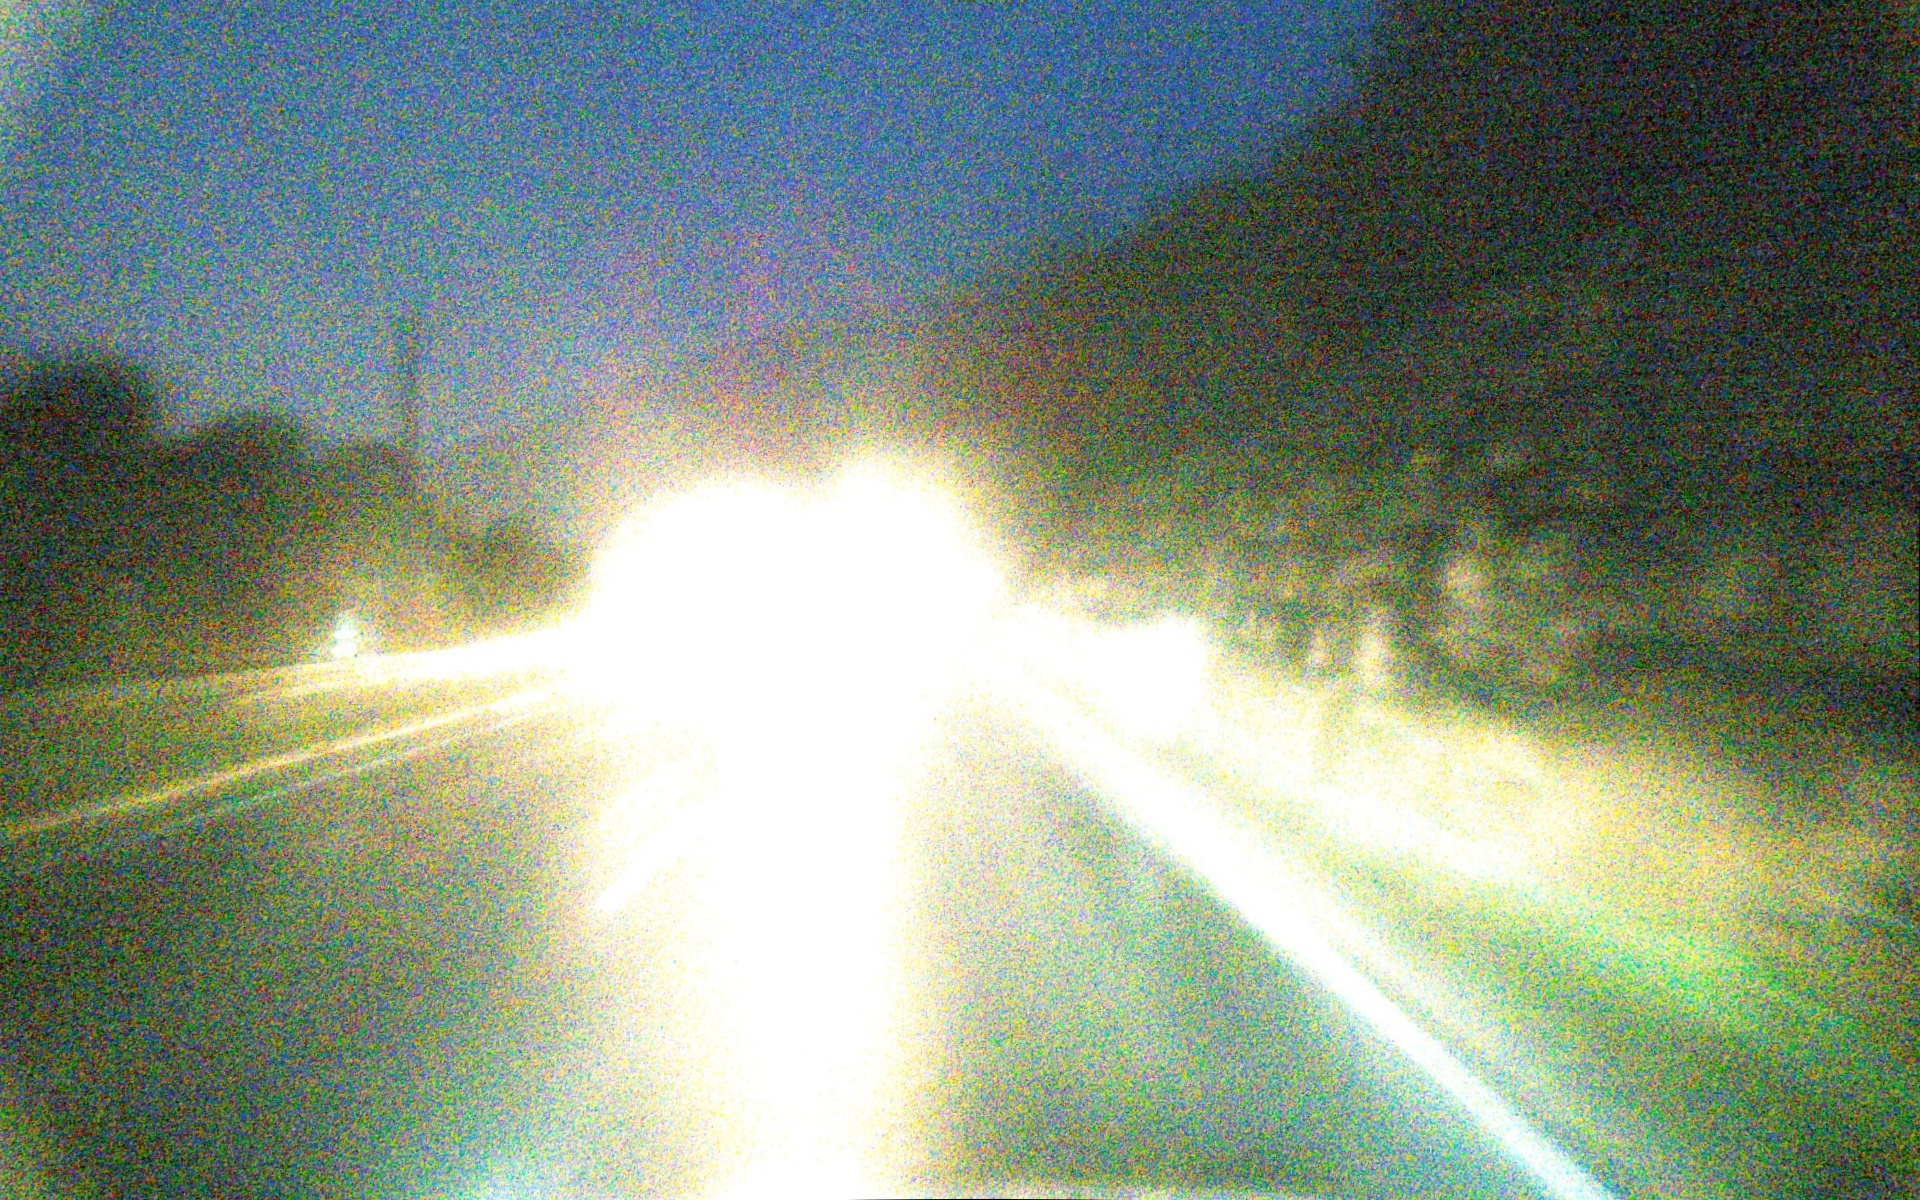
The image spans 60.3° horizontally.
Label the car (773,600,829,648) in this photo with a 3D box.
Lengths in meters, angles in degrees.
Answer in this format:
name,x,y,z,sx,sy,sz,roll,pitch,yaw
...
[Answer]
name,x,y,z,sx,sy,sz,roll,pitch,yaw
car,-5.693,0.839,59.761,1.883,1.674,4.022,0,0,-4
